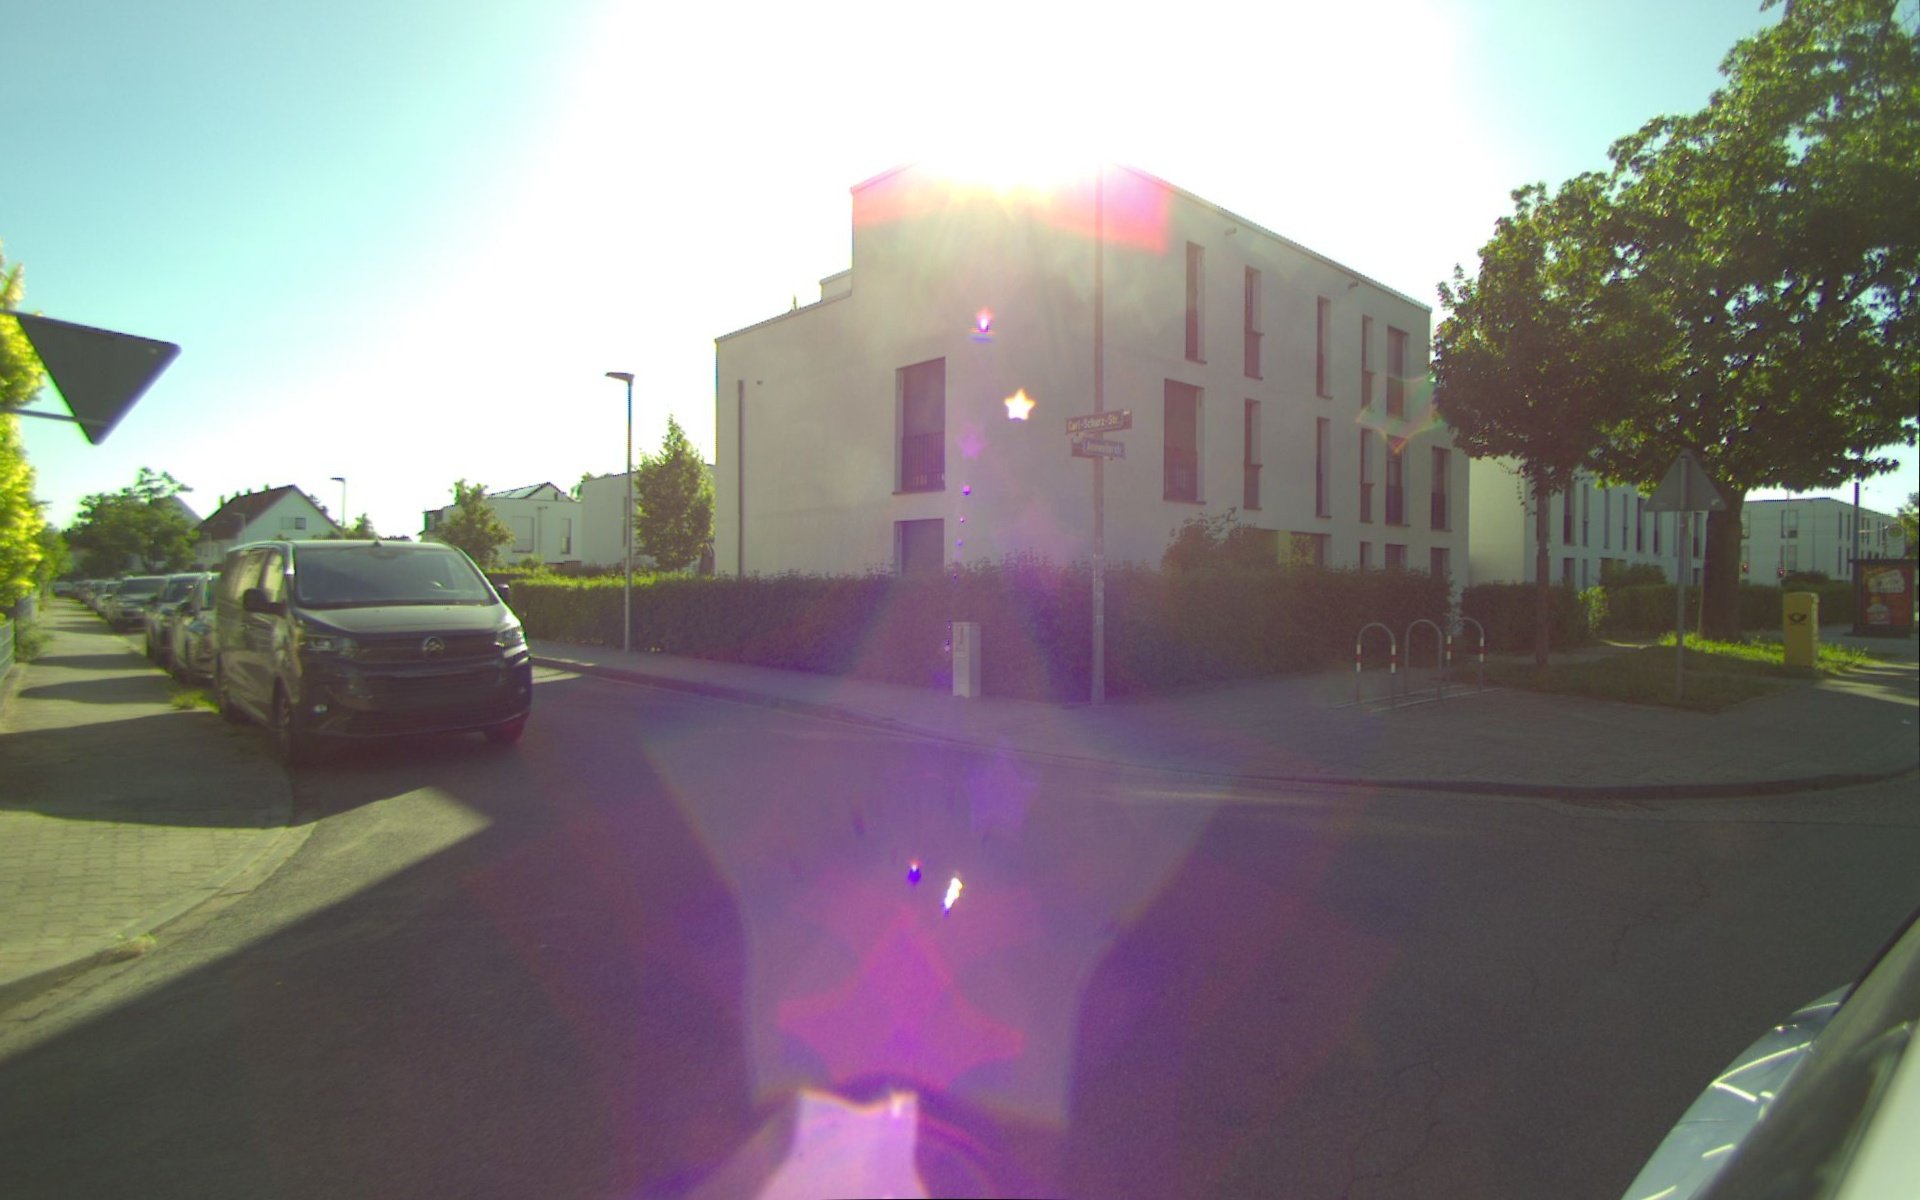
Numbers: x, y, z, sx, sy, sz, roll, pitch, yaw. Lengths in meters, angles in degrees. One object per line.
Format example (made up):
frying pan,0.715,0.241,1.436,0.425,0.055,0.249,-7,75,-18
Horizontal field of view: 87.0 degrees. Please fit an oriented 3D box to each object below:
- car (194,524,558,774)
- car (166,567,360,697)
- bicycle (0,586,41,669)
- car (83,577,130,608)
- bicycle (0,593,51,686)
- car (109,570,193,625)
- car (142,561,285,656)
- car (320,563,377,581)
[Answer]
car,-5.958,0.264,9.955,1.882,1.837,5.198,-2,3,-44
car,-10.120,0.343,14.606,1.880,1.623,3.554,-1,2,-42
bicycle,-13.226,0.364,12.690,2.501,1.044,0.648,-1,2,-41
car,-47.161,-0.440,55.894,1.880,1.623,3.719,-1,2,-42
bicycle,-11.881,0.470,11.331,2.501,1.044,0.648,-1,2,-41
car,-25.690,-0.134,32.090,1.880,1.623,3.719,-1,2,-42
car,-14.243,0.096,19.238,1.880,1.623,3.554,-1,2,-42
car,-48.396,-2.226,80.132,3.660,1.370,1.910,-1,2,-40
